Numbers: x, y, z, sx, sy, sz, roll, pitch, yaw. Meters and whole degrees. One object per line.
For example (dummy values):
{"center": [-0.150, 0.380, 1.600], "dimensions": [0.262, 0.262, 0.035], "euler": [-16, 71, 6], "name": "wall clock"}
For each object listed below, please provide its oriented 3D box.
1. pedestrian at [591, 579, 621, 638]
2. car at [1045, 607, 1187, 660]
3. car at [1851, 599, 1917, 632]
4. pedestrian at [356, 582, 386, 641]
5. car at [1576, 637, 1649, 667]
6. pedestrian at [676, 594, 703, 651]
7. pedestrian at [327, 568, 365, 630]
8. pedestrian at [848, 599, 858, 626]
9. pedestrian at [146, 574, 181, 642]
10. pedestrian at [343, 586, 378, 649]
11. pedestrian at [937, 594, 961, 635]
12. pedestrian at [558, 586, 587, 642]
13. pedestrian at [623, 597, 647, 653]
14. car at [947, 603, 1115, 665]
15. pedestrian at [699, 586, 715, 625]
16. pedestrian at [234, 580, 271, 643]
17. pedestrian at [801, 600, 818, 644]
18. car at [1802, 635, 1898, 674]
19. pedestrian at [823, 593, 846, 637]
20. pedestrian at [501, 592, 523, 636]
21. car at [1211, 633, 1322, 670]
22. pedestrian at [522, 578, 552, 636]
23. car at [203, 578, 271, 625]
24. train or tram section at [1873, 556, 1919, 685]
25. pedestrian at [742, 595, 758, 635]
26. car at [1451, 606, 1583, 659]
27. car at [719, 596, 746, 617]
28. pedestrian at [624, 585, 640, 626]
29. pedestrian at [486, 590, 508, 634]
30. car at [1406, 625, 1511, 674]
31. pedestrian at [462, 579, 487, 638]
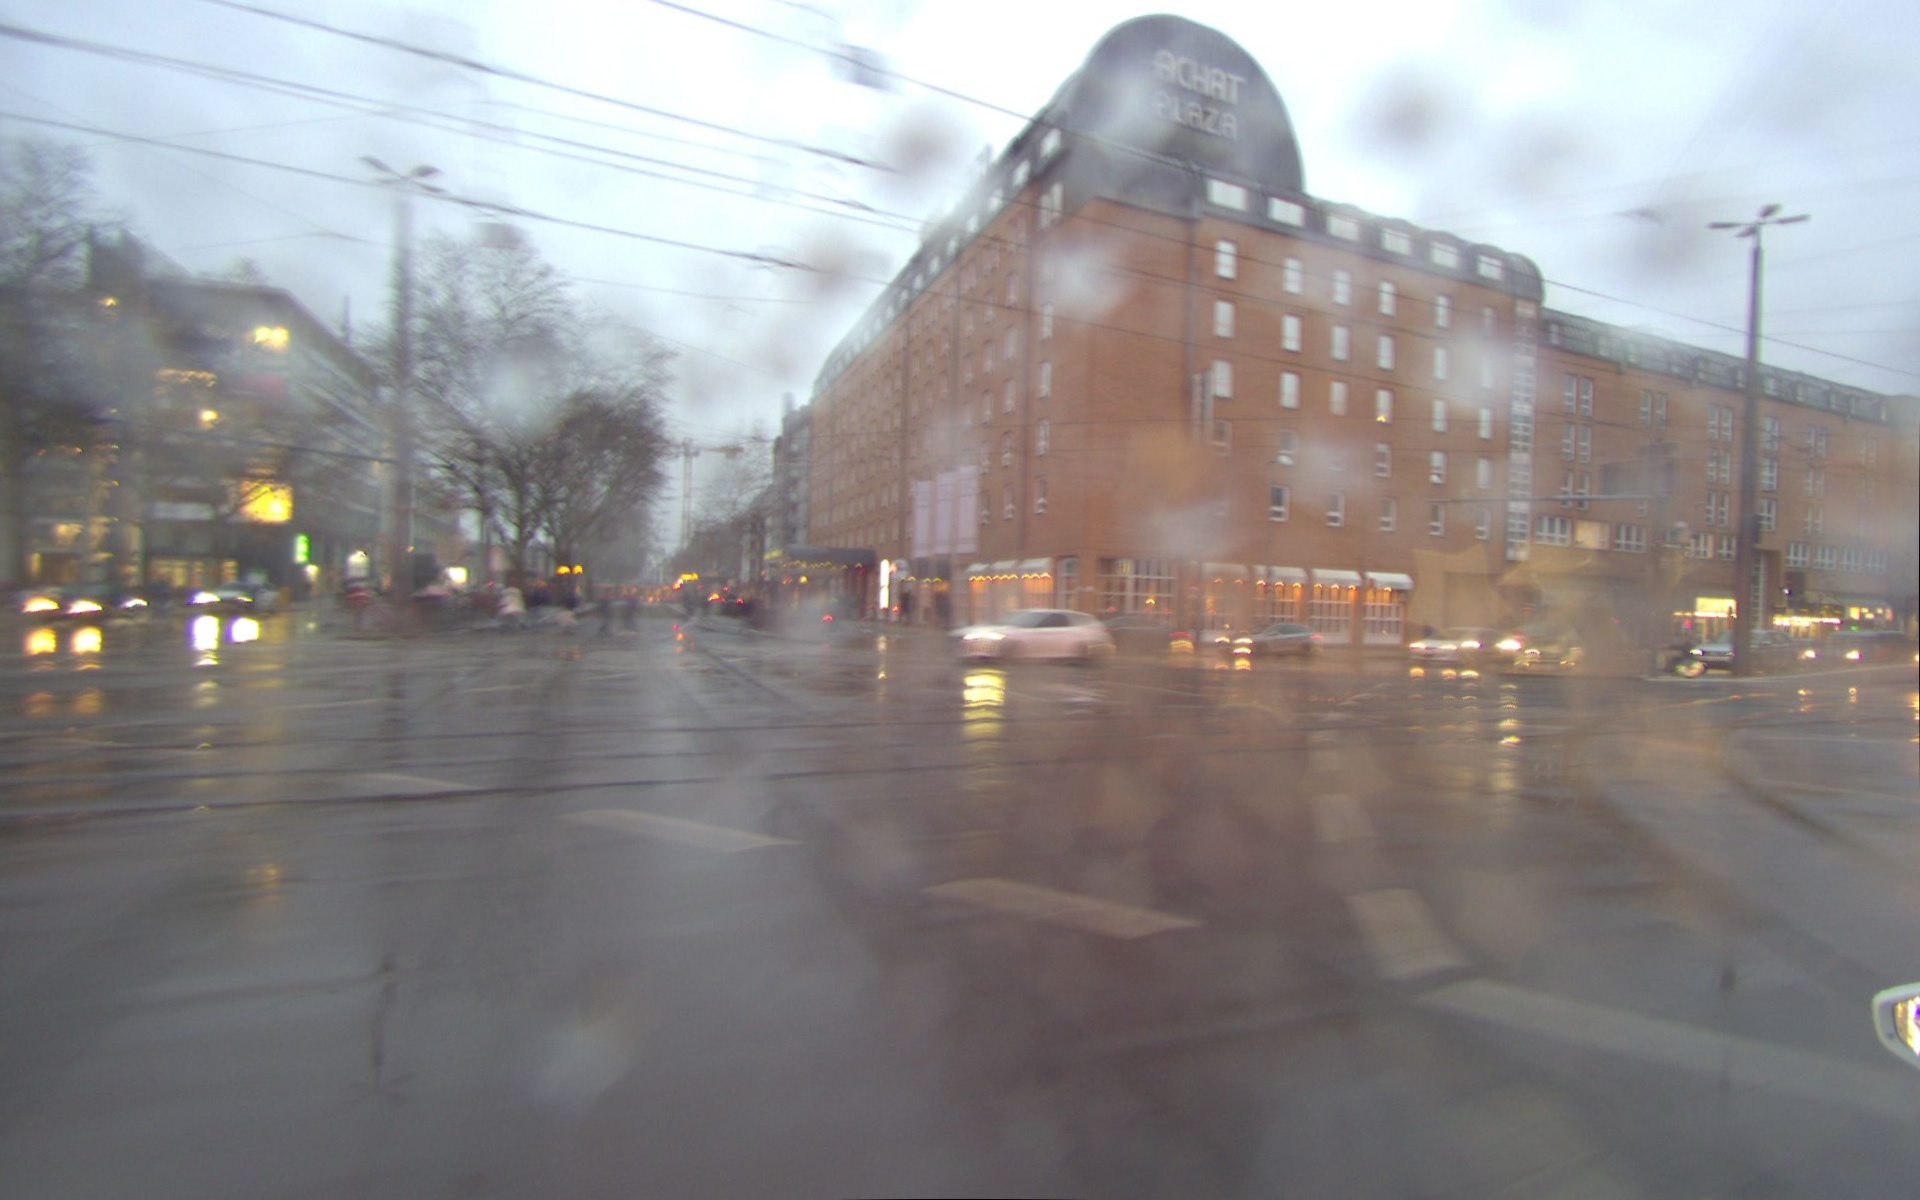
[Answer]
{"center": [-12.480, 0.316, 35.469], "dimensions": [0.744, 2.040, 0.707], "euler": [2, 0, -1], "name": "pedestrian"}
{"center": [4.883, 1.045, 31.318], "dimensions": [4.182, 1.525, 1.745], "euler": [2, 0, -28], "name": "car"}
{"center": [62.300, 1.065, 67.717], "dimensions": [3.949, 2.041, 1.986], "euler": [2, 1, -27], "name": "car"}
{"center": [-20.238, 0.391, 34.532], "dimensions": [0.655, 1.984, 0.529], "euler": [2, 0, -4], "name": "pedestrian"}
{"center": [35.919, 2.878, 55.278], "dimensions": [4.176, 1.511, 1.605], "euler": [2, 0, -29], "name": "car"}
{"center": [-9.995, 0.828, 37.146], "dimensions": [0.744, 2.040, 0.800], "euler": [2, 0, -1], "name": "pedestrian"}
{"center": [-20.563, -0.028, 33.648], "dimensions": [0.744, 2.040, 0.707], "euler": [2, 0, -1], "name": "pedestrian"}
{"center": [-8.108, 0.944, 76.103], "dimensions": [0.521, 2.040, 0.553], "euler": [2, 0, -20], "name": "pedestrian"}
{"center": [-24.196, 0.244, 30.515], "dimensions": [0.753, 2.040, 0.699], "euler": [2, 0, -41], "name": "pedestrian"}
{"center": [-19.723, 0.568, 33.038], "dimensions": [0.746, 2.040, 0.705], "euler": [2, 0, -14], "name": "pedestrian"}
{"center": [-0.553, 0.745, 50.645], "dimensions": [0.922, 2.040, 0.756], "euler": [2, 0, 40], "name": "pedestrian"}
{"center": [-14.480, 0.517, 37.586], "dimensions": [0.744, 2.040, 0.707], "euler": [2, 0, -1], "name": "pedestrian"}
{"center": [-12.126, 0.915, 37.485], "dimensions": [0.747, 2.040, 0.705], "euler": [2, 0, -16], "name": "pedestrian"}
{"center": [1.900, 0.907, 26.529], "dimensions": [4.146, 1.515, 1.662], "euler": [2, 0, -26], "name": "car"}
{"center": [-13.687, 0.289, 54.383], "dimensions": [0.709, 2.040, 0.743], "euler": [2, 0, -20], "name": "pedestrian"}
{"center": [-23.260, 0.374, 33.014], "dimensions": [0.764, 2.040, 0.706], "euler": [2, 0, 31], "name": "pedestrian"}
{"center": [-5.362, 0.792, 35.859], "dimensions": [0.564, 1.558, 0.519], "euler": [1, 0, -8], "name": "pedestrian"}
{"center": [35.102, 2.151, 39.613], "dimensions": [3.502, 1.372, 1.675], "euler": [2, 1, -28], "name": "car"}
{"center": [-5.560, 0.669, 44.480], "dimensions": [0.774, 1.925, 0.836], "euler": [2, 0, -19], "name": "pedestrian"}
{"center": [-15.827, 0.489, 35.477], "dimensions": [0.564, 1.558, 0.519], "euler": [1, 0, -8], "name": "pedestrian"}
{"center": [12.379, 2.069, 40.557], "dimensions": [4.166, 1.339, 1.609], "euler": [2, 0, -21], "name": "car"}
{"center": [-15.325, 0.262, 36.410], "dimensions": [0.744, 2.040, 0.707], "euler": [2, 0, -1], "name": "pedestrian"}
{"center": [-35.603, 0.089, 49.562], "dimensions": [1.894, 2.165, 4.052], "euler": [2, -1, -25], "name": "car"}
{"center": [32.715, 0.791, 30.655], "dimensions": [12.097, 3.637, 2.939], "euler": [2, 1, -27], "name": "train or tram section"}
{"center": [-8.462, 0.598, 40.457], "dimensions": [0.564, 1.558, 0.519], "euler": [1, 0, -8], "name": "pedestrian"}
{"center": [19.757, 1.148, 35.568], "dimensions": [4.646, 1.732, 1.822], "euler": [2, 0, -28], "name": "car"}
{"center": [-21.527, 0.597, 95.003], "dimensions": [2.075, 1.806, 3.689], "euler": [2, 0, -19], "name": "car"}
{"center": [-16.726, 0.293, 51.208], "dimensions": [0.709, 2.040, 0.743], "euler": [2, 0, -20], "name": "pedestrian"}
{"center": [-16.698, 0.419, 36.217], "dimensions": [0.564, 1.558, 0.519], "euler": [1, 0, -8], "name": "pedestrian"}
{"center": [19.145, 1.892, 38.576], "dimensions": [3.807, 1.732, 1.677], "euler": [2, 0, -28], "name": "car"}
{"center": [-17.123, 0.309, 35.450], "dimensions": [0.697, 2.040, 0.755], "euler": [2, 0, -23], "name": "pedestrian"}
